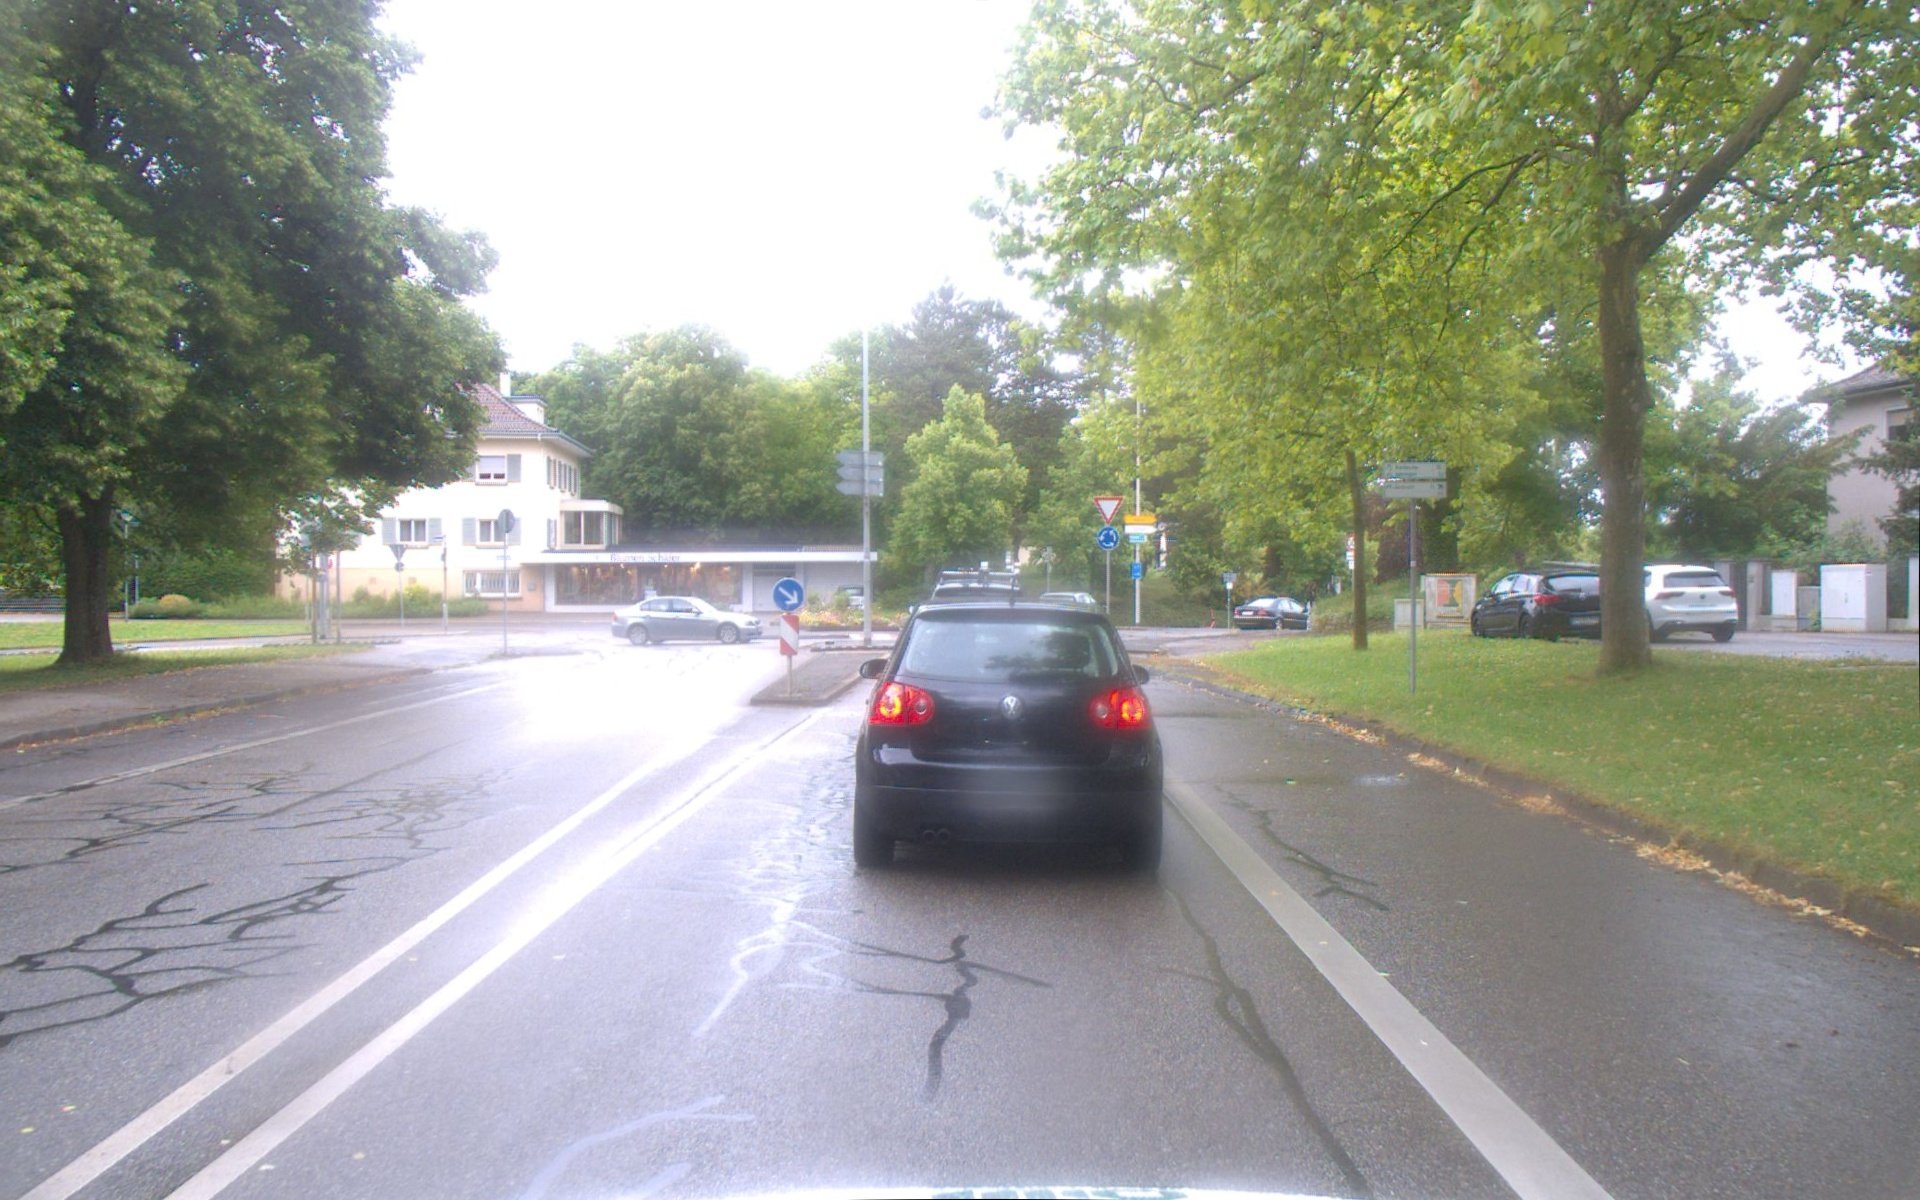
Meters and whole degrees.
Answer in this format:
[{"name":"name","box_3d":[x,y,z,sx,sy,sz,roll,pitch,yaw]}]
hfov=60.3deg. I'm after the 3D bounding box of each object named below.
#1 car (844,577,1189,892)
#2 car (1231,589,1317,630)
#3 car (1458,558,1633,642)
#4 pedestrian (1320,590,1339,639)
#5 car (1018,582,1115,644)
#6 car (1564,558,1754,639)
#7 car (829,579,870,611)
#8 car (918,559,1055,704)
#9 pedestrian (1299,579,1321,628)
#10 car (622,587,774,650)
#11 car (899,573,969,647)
[{"name":"car","box_3d":[0.267,0.657,10.411,1.729,1.565,4.000,1,1,-1]},{"name":"car","box_3d":[12.385,0.390,65.096,1.959,1.557,3.988,1,0,33]},{"name":"car","box_3d":[11.662,0.009,33.267,1.729,1.497,4.596,-2,0,-2]},{"name":"pedestrian","box_3d":[13.394,0.523,59.983,0.620,1.743,0.530,1,-1,16]},{"name":"car","box_3d":[3.328,0.403,50.768,1.952,1.772,4.145,1,0,18]},{"name":"car","box_3d":[14.065,-0.019,33.580,1.808,1.497,4.423,-1,0,-3]},{"name":"car","box_3d":[-5.447,-0.262,81.392,1.778,1.512,3.825,-1,1,-7]},{"name":"car","box_3d":[0.292,0.409,23.467,1.729,1.833,4.245,-1,0,-2]},{"name":"pedestrian","box_3d":[12.527,0.129,59.234,0.519,1.743,0.633,1,-1,-15]},{"name":"car","box_3d":[-7.638,0.528,48.455,3.934,1.713,2.002,-1,0,10]},{"name":"car","box_3d":[-0.655,0.261,44.243,1.728,1.833,4.246,-1,0,0]}]
